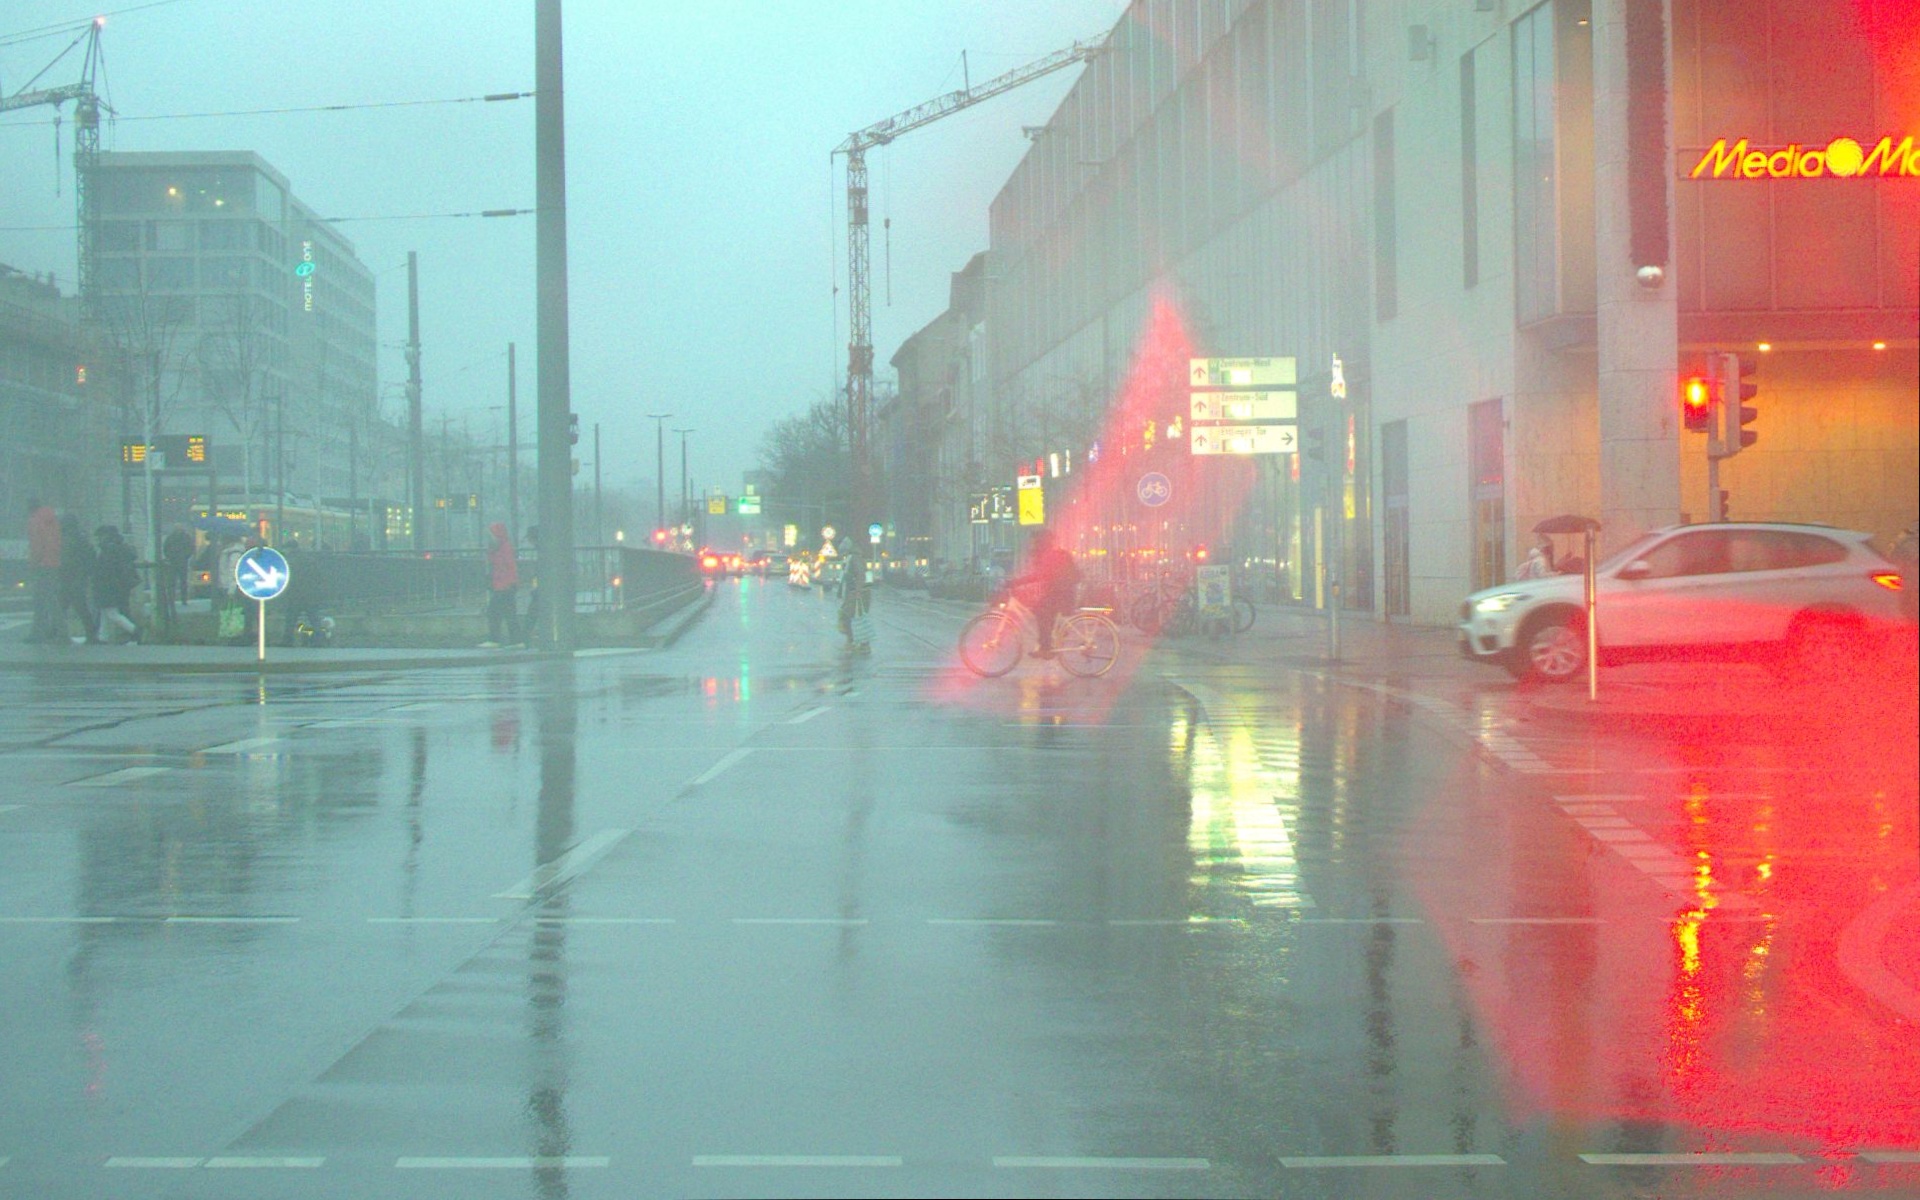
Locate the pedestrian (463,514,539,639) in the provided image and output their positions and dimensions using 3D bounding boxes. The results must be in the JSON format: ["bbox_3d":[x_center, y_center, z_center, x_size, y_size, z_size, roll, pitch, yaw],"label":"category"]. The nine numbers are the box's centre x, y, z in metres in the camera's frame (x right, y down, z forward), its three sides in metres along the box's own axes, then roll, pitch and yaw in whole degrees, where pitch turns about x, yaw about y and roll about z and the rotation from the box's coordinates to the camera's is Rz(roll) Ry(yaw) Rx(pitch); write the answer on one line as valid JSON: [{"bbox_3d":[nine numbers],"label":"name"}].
[{"bbox_3d":[-6.213,-0.316,46.556,0.831,1.673,0.619,-1,1,13],"label":"pedestrian"}]

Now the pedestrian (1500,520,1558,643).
[{"bbox_3d":[7.807,-0.258,47.140,0.741,1.661,0.400,-1,1,6],"label":"pedestrian"}]

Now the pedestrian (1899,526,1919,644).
[{"bbox_3d":[14.085,-0.220,50.208,0.536,1.712,0.501,0,1,37],"label":"pedestrian"}]

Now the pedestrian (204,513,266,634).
[{"bbox_3d":[-9.781,-0.354,46.398,0.706,1.613,0.613,-1,1,-3],"label":"pedestrian"}]

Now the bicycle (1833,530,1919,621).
[{"bbox_3d":[14.208,-0.373,50.849,2.424,1.325,0.635,-1,1,-5],"label":"bicycle"}]

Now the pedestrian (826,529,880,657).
[{"bbox_3d":[-1.490,-0.102,47.946,0.703,1.754,0.652,-1,1,-1],"label":"pedestrian"}]

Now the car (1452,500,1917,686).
[{"bbox_3d":[7.200,-0.083,34.439,4.303,1.755,1.707,-1,1,2],"label":"car"}]

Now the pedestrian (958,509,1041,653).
[{"bbox_3d":[0.435,-0.212,37.783,0.814,1.564,0.536,-1,1,-8],"label":"pedestrian"}]

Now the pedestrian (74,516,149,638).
[{"bbox_3d":[-11.422,-0.313,46.286,0.680,1.613,0.707,0,1,43],"label":"pedestrian"}]

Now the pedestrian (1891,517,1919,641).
[{"bbox_3d":[13.573,-0.303,48.710,0.617,1.754,0.482,-1,1,-1],"label":"pedestrian"}]

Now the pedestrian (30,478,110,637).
[{"bbox_3d":[-11.397,-0.546,44.047,0.775,2.007,0.613,-1,1,-39],"label":"pedestrian"}]

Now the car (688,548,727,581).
[{"bbox_3d":[-13.790,-1.914,188.036,1.888,1.777,3.714,1,0,-1],"label":"car"}]

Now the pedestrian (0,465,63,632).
[{"bbox_3d":[-11.762,-0.645,43.263,0.686,2.080,0.613,-1,1,-40],"label":"pedestrian"}]

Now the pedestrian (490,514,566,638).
[{"bbox_3d":[-5.938,-0.330,47.257,0.843,1.682,0.677,-1,1,11],"label":"pedestrian"}]

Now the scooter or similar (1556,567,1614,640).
[{"bbox_3d":[8.553,0.046,47.065,0.741,0.990,0.400,-1,1,6],"label":"scooter or similar"}]

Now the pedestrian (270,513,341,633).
[{"bbox_3d":[-8.895,-0.366,46.756,0.809,1.602,0.745,-1,1,-1],"label":"pedestrian"}]

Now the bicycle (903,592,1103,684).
[{"bbox_3d":[0.469,0.418,37.781,2.128,0.988,0.542,1,0,-8],"label":"bicycle"}]

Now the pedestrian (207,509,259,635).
[{"bbox_3d":[-10.109,-0.394,47.816,0.619,1.740,0.613,-1,1,-6],"label":"pedestrian"}]
